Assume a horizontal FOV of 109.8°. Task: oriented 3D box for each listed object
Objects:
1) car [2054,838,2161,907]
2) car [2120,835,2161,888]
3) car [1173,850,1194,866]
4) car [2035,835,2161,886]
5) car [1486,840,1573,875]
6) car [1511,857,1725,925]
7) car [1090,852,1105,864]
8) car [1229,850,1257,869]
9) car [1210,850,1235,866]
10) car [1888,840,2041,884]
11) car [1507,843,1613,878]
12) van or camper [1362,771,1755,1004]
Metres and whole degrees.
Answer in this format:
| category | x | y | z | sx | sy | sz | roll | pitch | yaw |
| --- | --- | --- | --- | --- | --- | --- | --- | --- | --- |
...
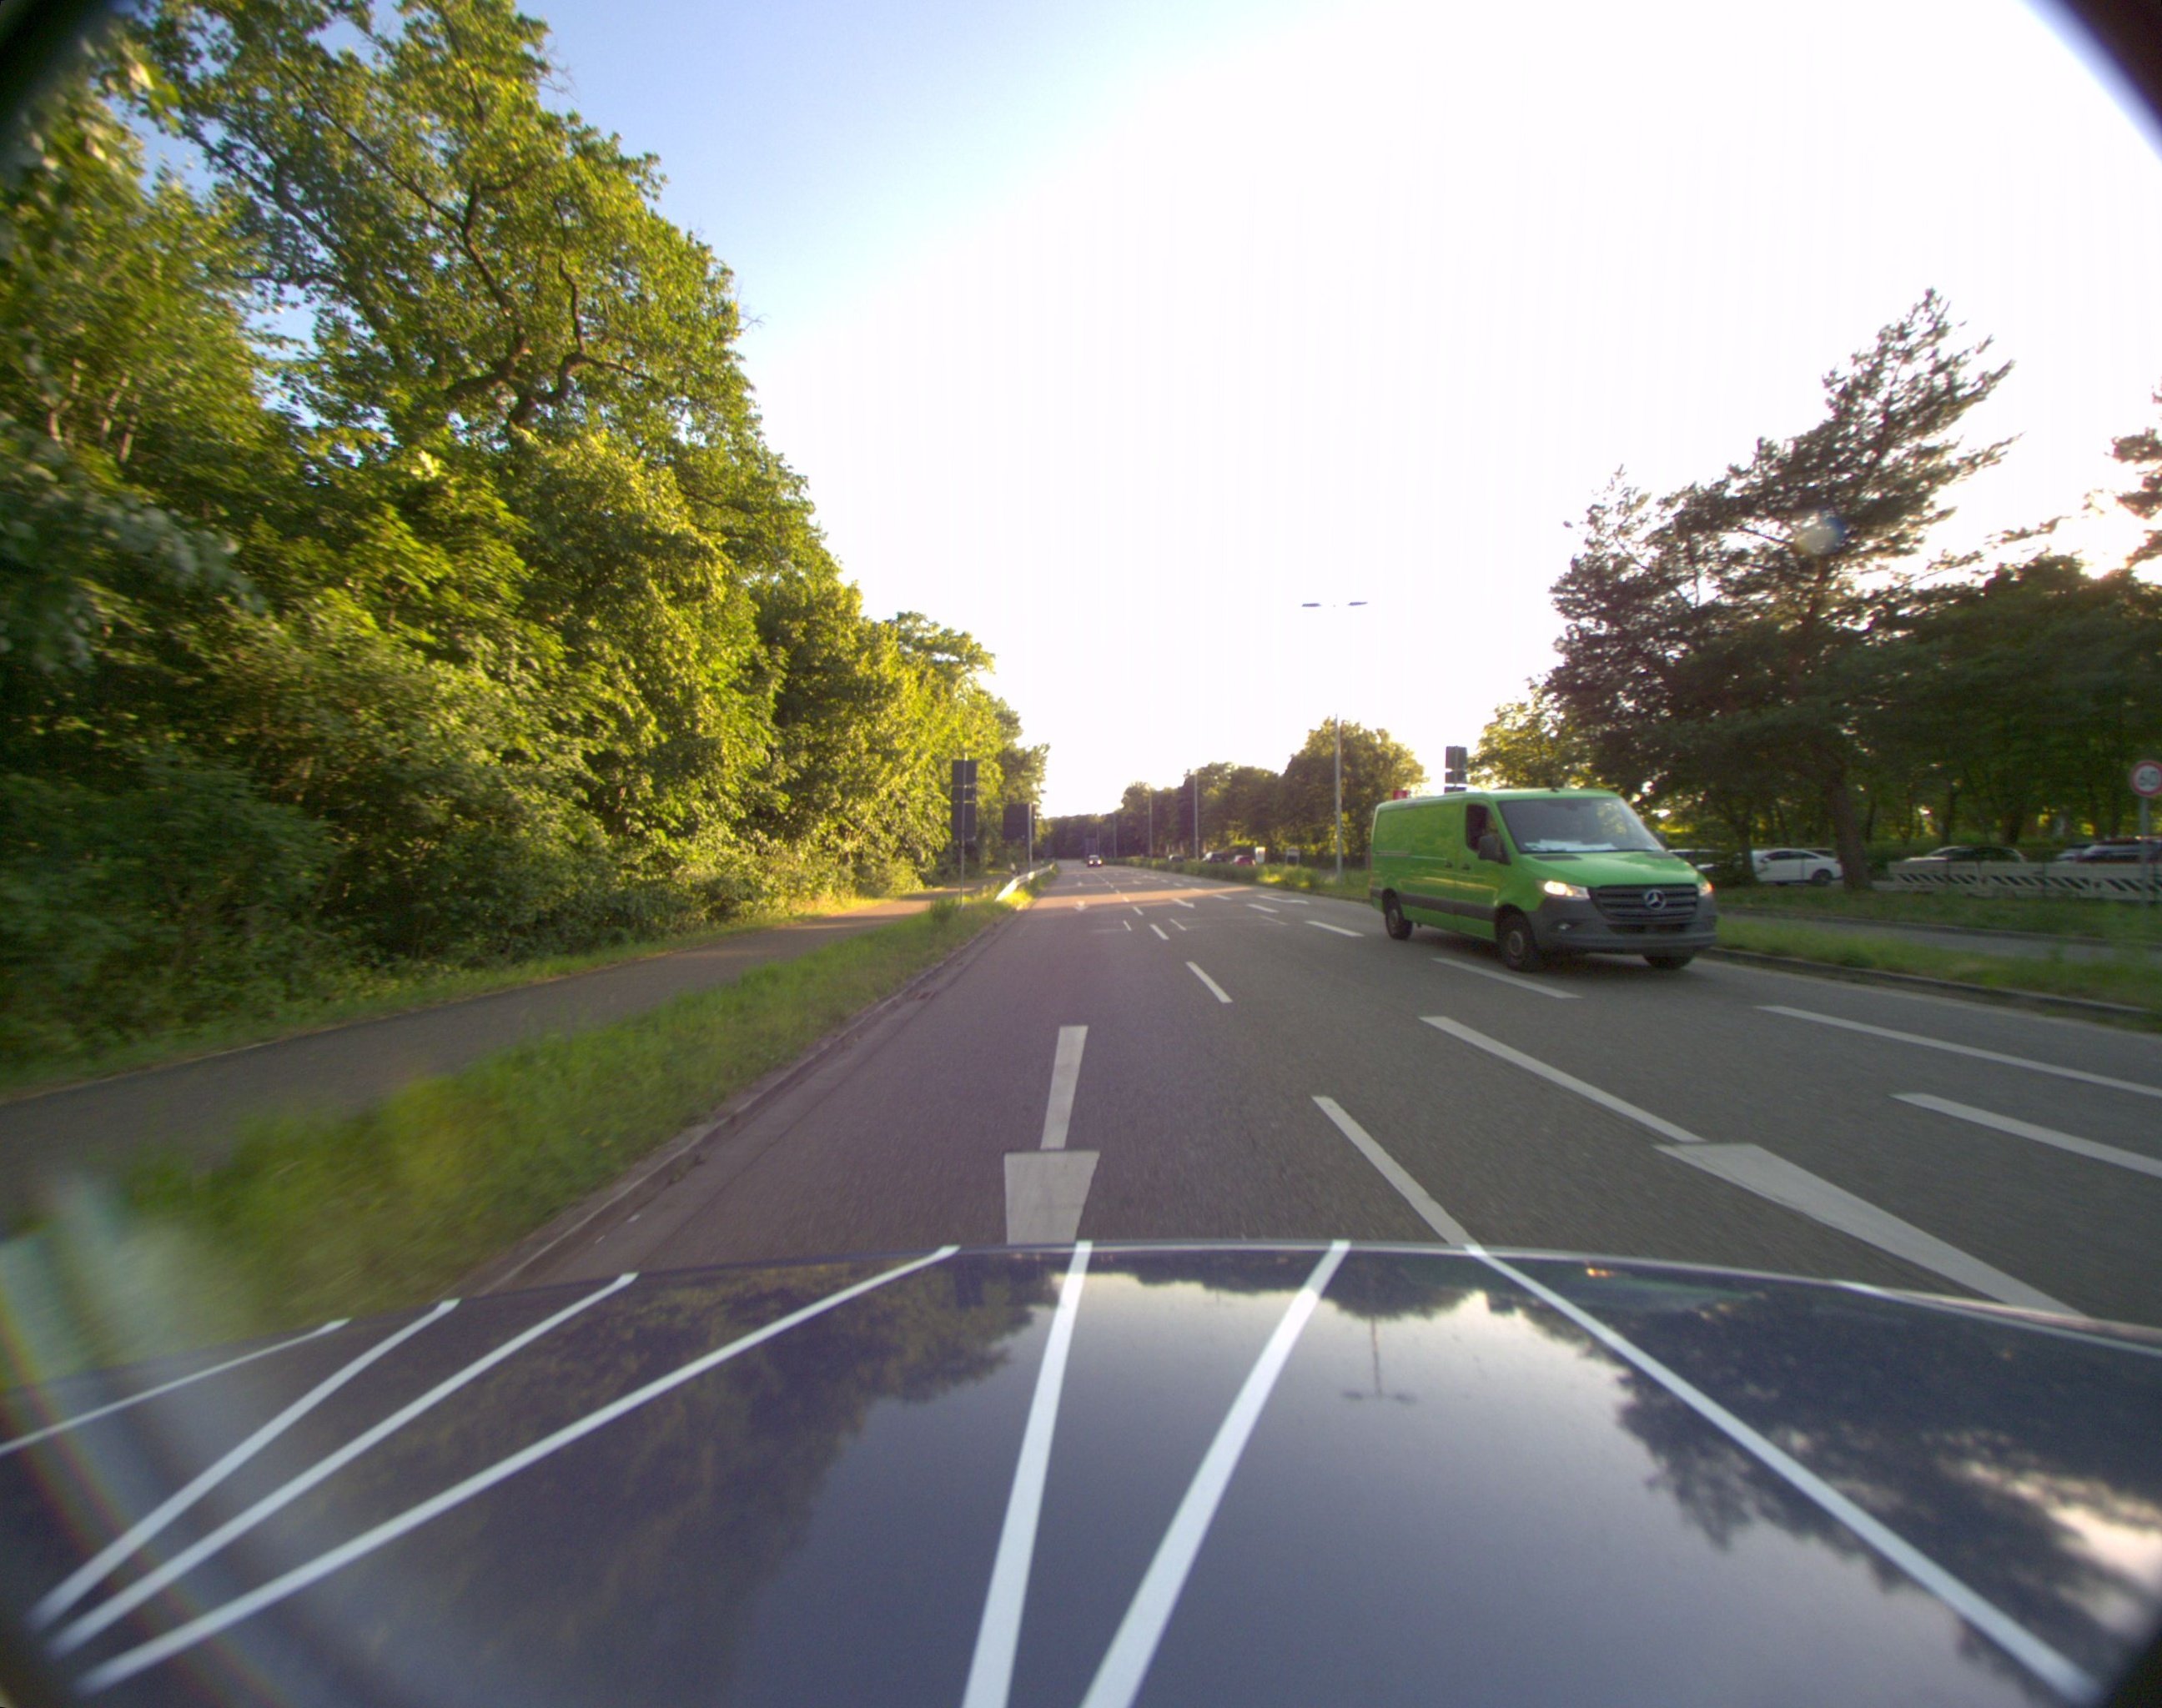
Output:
| category | x | y | z | sx | sy | sz | roll | pitch | yaw |
| --- | --- | --- | --- | --- | --- | --- | --- | --- | --- |
| car | 27.038 | 0.404 | 18.490 | 4.524 | 1.608 | 1.771 | -1 | 0 | -1 |
| car | 35.045 | 0.217 | 23.256 | 3.996 | 1.641 | 1.766 | 0 | 0 | 1 |
| car | 11.222 | 0.425 | 83.487 | 1.760 | 1.532 | 3.999 | -3 | 1 | 1 |
| car | 34.951 | 0.192 | 25.316 | 3.996 | 1.641 | 1.766 | 0 | 0 | 1 |
| car | 25.858 | 0.194 | 43.856 | 3.997 | 1.932 | 1.766 | 0 | 0 | 0 |
| car | 13.285 | 0.830 | 19.224 | 1.999 | 1.486 | 4.511 | -1 | 0 | -4 |
| car | 2.256 | 0.562 | 105.640 | 1.999 | 1.543 | 3.999 | -1 | 0 | -1 |
| car | 15.098 | 0.495 | 71.053 | 1.760 | 1.532 | 3.999 | -3 | 1 | 1 |
| car | 14.704 | 0.366 | 79.055 | 1.760 | 1.532 | 3.999 | -3 | 1 | 1 |
| car | 35.126 | 0.303 | 30.294 | 3.996 | 1.641 | 1.766 | -1 | 0 | 1 |
| car | 25.674 | 0.328 | 40.818 | 4.497 | 1.787 | 1.909 | 0 | 0 | 0 |
| van or camper | 6.065 | 0.353 | 10.870 | 1.998 | 2.407 | 5.896 | -1 | 0 | 1 |
